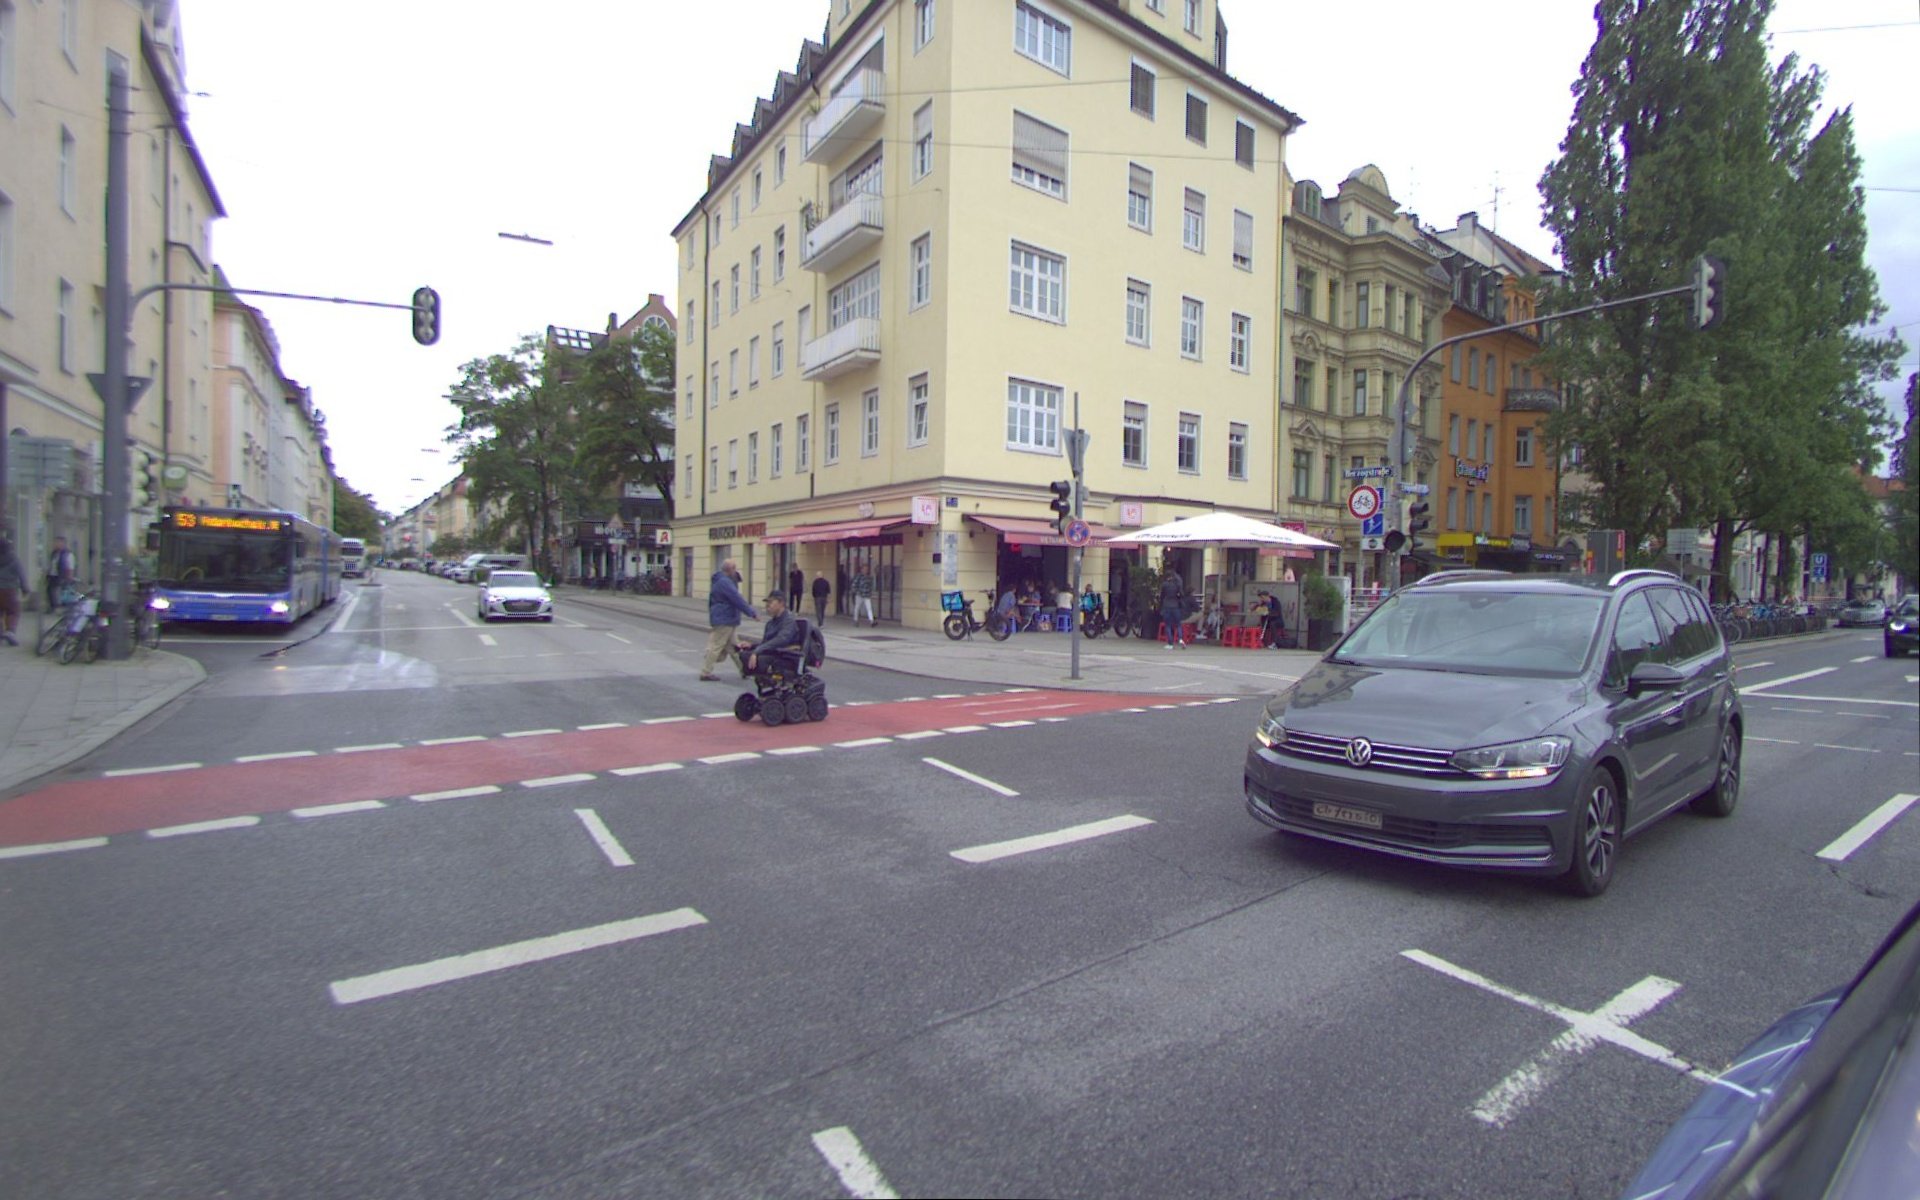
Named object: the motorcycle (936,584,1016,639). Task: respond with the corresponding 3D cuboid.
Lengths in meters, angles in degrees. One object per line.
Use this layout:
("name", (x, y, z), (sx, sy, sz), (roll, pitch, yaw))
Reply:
("motorcycle", (0.363, 0.247, 23.135), (1.745, 1.215, 0.538), (1, 1, 20))

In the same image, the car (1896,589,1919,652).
("car", (25.198, 0.485, 25.641), (3.901, 1.523, 1.778), (-1, 0, -41))

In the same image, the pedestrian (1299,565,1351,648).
("pedestrian", (8.027, 0.127, 22.229), (0.878, 1.765, 0.848), (2, 1, 33))

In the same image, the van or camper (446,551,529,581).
("van or camper", (-38.367, -2.733, 82.349), (1.985, 2.306, 6.065), (2, 2, 32))

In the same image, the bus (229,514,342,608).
("bus", (-25.128, -1.442, 38.093), (2.759, 3.004, 9.598), (2, 1, -30))

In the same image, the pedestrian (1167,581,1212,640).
("pedestrian", (5.362, 0.229, 23.667), (0.782, 1.327, 0.679), (0, 1, -40))

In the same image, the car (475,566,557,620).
("car", (-12.956, -0.250, 29.405), (1.856, 1.440, 4.006), (0, 2, -28))

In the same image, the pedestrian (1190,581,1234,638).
("pedestrian", (6.026, 0.226, 24.235), (0.782, 1.327, 0.679), (0, 1, -40))

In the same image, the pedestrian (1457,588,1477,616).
("pedestrian", (22.943, 0.076, 45.820), (0.573, 1.233, 0.623), (0, 1, -41))

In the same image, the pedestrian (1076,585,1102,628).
("pedestrian", (3.592, 0.180, 28.233), (0.518, 1.180, 0.479), (0, 1, -42))

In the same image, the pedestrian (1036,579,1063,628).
("pedestrian", (2.469, 0.093, 27.907), (0.518, 1.315, 0.479), (0, 1, -42))

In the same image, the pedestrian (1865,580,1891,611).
("pedestrian", (49.718, -0.233, 54.821), (0.743, 1.658, 0.700), (1, 0, 6))

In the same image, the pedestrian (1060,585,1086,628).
("pedestrian", (3.200, 0.183, 28.595), (0.518, 1.180, 0.479), (0, 1, -42))

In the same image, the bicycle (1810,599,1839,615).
("bicycle", (55.147, 0.454, 64.540), (1.801, 1.036, 0.447), (0, 1, -14))

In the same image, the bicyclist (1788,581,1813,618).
("bicyclist", (38.234, -0.026, 46.026), (0.923, 1.623, 0.681), (0, 1, -41))

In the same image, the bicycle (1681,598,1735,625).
("bicycle", (34.542, 0.509, 46.742), (0.571, 1.188, 1.892), (0, 1, -38))

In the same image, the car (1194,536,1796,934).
("car", (3.633, 0.543, 6.417), (4.625, 1.667, 1.775), (0, 1, -40))

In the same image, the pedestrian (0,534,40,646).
("pedestrian", (-15.058, -0.174, 15.859), (0.732, 1.706, 0.683), (4, -1, -31))

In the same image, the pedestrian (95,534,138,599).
("pedestrian", (-23.590, -0.926, 28.315), (0.732, 1.748, 0.727), (4, -1, -31))

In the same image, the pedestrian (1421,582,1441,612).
("pedestrian", (20.096, -0.132, 43.194), (0.573, 1.296, 0.584), (0, 1, -41))

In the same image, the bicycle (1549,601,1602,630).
("bicycle", (23.348, 0.569, 38.410), (0.379, 1.059, 1.730), (2, 0, -29))

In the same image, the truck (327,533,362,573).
("truck", (-67.222, -5.072, 110.250), (2.855, 3.963, 18.917), (0, 2, -32))

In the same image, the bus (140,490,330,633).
("bus", (-19.414, -1.026, 27.973), (2.759, 3.004, 13.622), (2, 1, -30))

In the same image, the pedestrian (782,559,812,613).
("pedestrian", (-5.275, -0.455, 32.737), (0.690, 1.704, 0.854), (0, 1, -30))

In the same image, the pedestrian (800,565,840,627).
("pedestrian", (-3.727, -0.120, 26.969), (0.753, 1.605, 0.760), (0, 1, -36))

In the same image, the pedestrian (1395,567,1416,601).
("pedestrian", (19.480, -0.708, 44.222), (0.572, 1.493, 0.627), (0, 1, -38))

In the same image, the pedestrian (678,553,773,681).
("pedestrian", (-3.418, 0.216, 14.738), (1.045, 1.777, 0.936), (0, 1, -38))

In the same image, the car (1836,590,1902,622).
("car", (44.580, 0.280, 49.599), (4.453, 1.458, 1.996), (-1, 1, -43))

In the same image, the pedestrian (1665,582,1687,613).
("pedestrian", (39.739, -0.157, 56.189), (0.999, 1.706, 0.747), (0, 1, -41))

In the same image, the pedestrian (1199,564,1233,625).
("pedestrian", (7.078, -0.155, 28.017), (0.666, 1.653, 0.616), (0, 1, -40))

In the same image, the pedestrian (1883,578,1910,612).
("pedestrian", (50.943, -0.280, 55.063), (0.741, 1.824, 0.883), (1, 0, -30))

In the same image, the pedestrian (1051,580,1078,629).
("pedestrian", (2.838, 0.107, 27.518), (0.518, 1.315, 0.479), (0, 1, -42))

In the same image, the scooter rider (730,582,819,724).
("scooter rider", (-1.938, 0.525, 10.560), (0.632, 1.406, 0.702), (0, 1, -42))

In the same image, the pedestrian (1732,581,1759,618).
("pedestrian", (34.305, -0.021, 44.173), (0.749, 1.582, 0.761), (1, 0, -39))

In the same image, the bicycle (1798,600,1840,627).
("bicycle", (33.672, 0.527, 39.698), (0.369, 1.008, 1.836), (1, 0, 10))

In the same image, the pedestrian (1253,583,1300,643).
("pedestrian", (7.144, 0.281, 22.831), (0.782, 1.327, 0.679), (0, 1, -40))

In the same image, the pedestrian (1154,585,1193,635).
("pedestrian", (5.305, 0.242, 25.135), (0.688, 1.218, 0.627), (0, 1, -40))

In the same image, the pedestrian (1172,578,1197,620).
("pedestrian", (7.122, -0.026, 32.067), (0.542, 1.305, 0.542), (0, 1, -40))

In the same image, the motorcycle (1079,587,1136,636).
("motorcycle", (3.661, 0.269, 25.007), (1.543, 1.171, 0.487), (0, 1, -40))

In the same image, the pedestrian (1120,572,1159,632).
("pedestrian", (4.827, 0.044, 27.224), (0.727, 1.560, 0.880), (2, 1, 35))

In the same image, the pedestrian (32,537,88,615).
("pedestrian", (-20.328, -0.538, 22.871), (0.732, 1.706, 0.727), (4, -1, -31))

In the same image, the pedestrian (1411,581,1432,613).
("pedestrian", (19.463, -0.129, 42.666), (0.573, 1.296, 0.584), (0, 1, -41))

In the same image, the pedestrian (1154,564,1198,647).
("pedestrian", (4.635, 0.101, 21.695), (0.752, 1.716, 0.762), (1, 1, 24))

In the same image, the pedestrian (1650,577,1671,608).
("pedestrian", (39.971, -0.414, 57.757), (0.999, 1.735, 0.747), (0, 1, -41))

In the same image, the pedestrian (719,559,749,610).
("pedestrian", (-7.492, -0.508, 33.567), (0.752, 1.663, 0.761), (0, 1, -30))

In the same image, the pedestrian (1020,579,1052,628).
("pedestrian", (2.050, 0.085, 27.209), (0.691, 1.308, 0.515), (0, 1, -42))

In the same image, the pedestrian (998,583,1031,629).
("pedestrian", (1.431, 0.157, 26.681), (0.691, 1.196, 0.515), (0, 1, -42))

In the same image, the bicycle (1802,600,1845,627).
("bicycle", (34.177, 0.525, 40.075), (0.369, 1.008, 1.836), (1, 0, 10))

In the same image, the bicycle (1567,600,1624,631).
("bicycle", (23.301, 0.567, 37.151), (1.722, 1.059, 0.381), (1, 0, 44))

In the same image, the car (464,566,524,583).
("car", (-36.819, -1.998, 79.982), (1.784, 1.237, 3.950), (2, 2, 35))

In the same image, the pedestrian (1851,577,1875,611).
("pedestrian", (48.939, -0.342, 54.861), (0.638, 1.803, 0.702), (1, 0, -7))

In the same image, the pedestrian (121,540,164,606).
("pedestrian", (-22.710, -0.748, 28.143), (0.732, 1.748, 0.727), (4, -1, -31))

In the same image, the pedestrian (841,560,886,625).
("pedestrian", (-2.605, -0.215, 27.349), (0.822, 1.704, 1.041), (0, 1, -30))
